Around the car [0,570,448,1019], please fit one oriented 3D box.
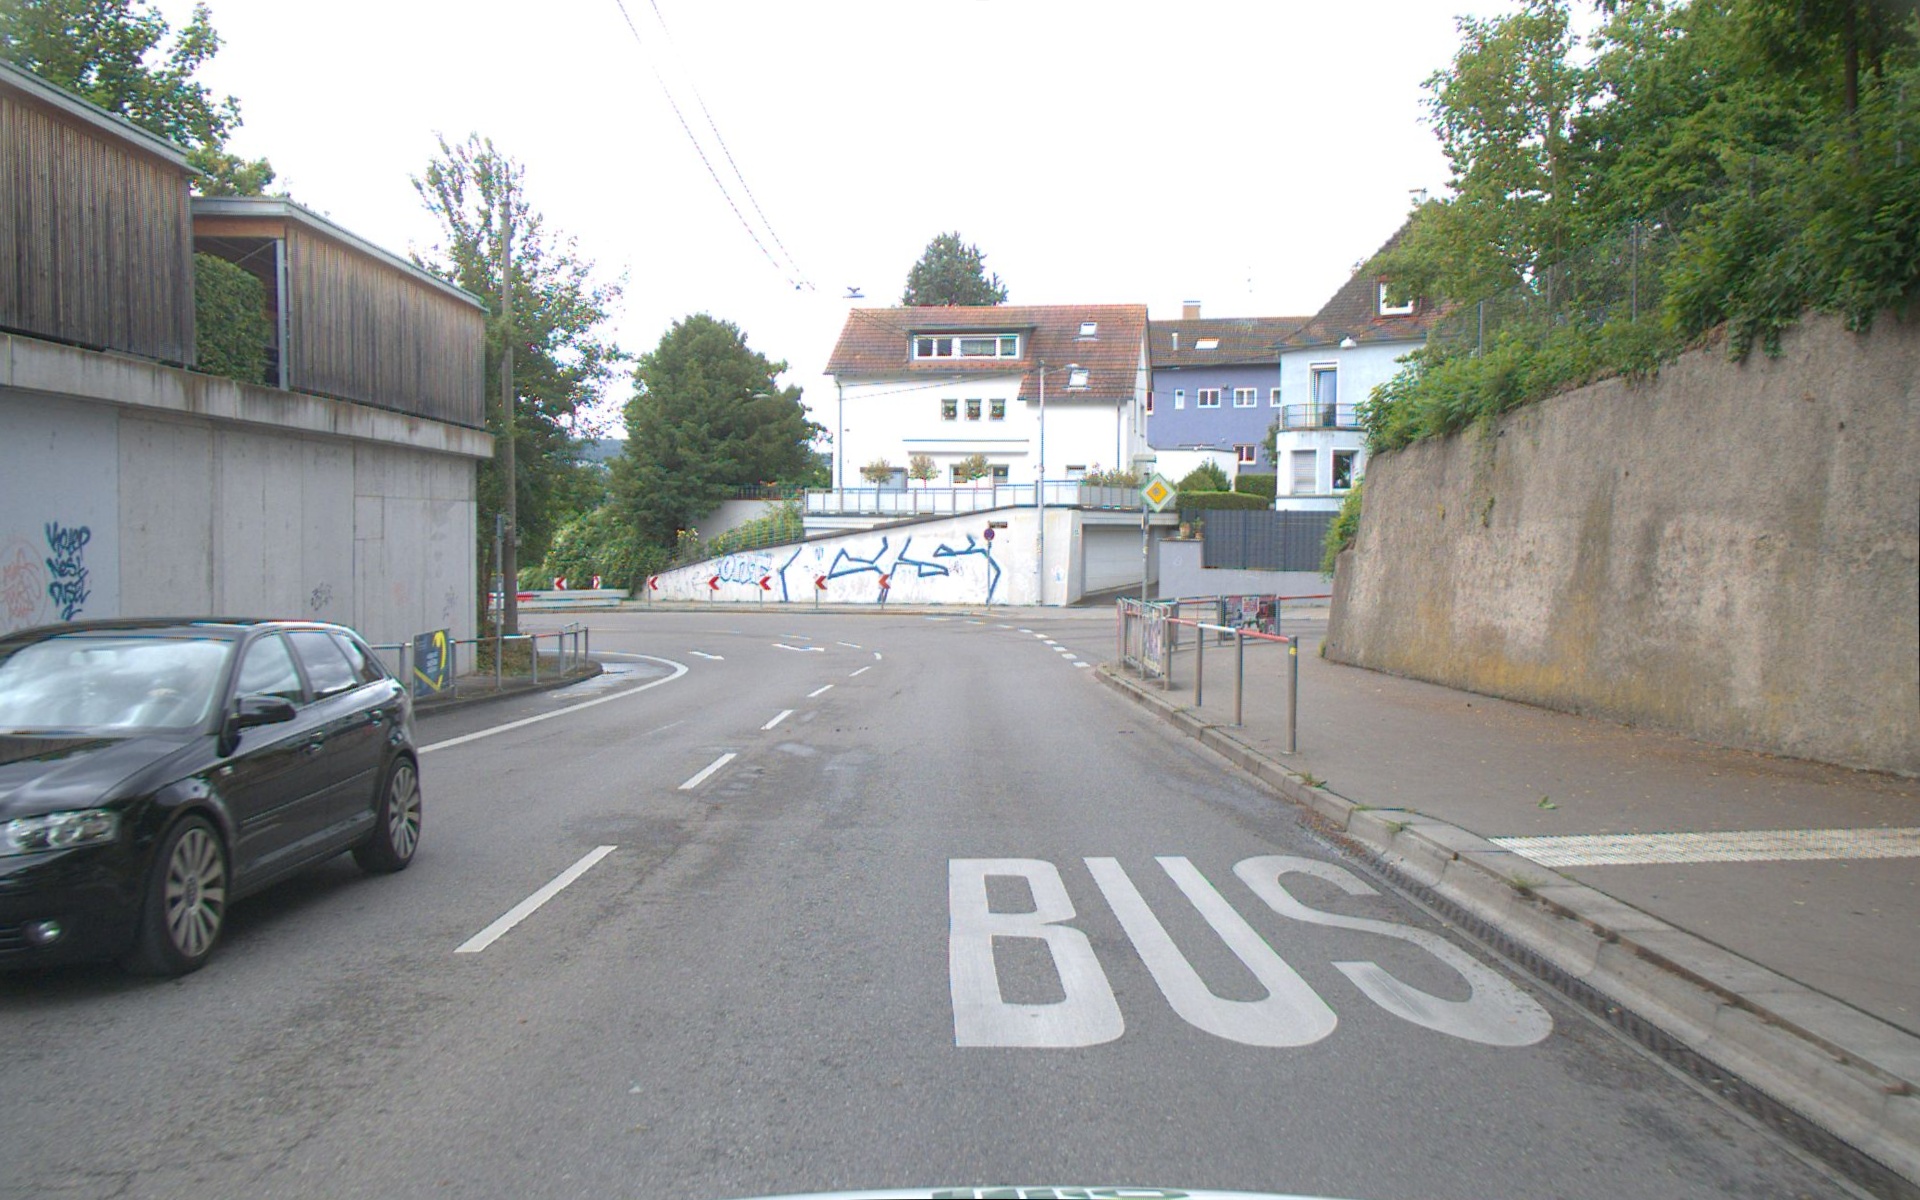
[{"bbox_3d":[-3.856,0.683,7.740,1.699,1.559,3.999,0,0,0],"label":"car"}]
